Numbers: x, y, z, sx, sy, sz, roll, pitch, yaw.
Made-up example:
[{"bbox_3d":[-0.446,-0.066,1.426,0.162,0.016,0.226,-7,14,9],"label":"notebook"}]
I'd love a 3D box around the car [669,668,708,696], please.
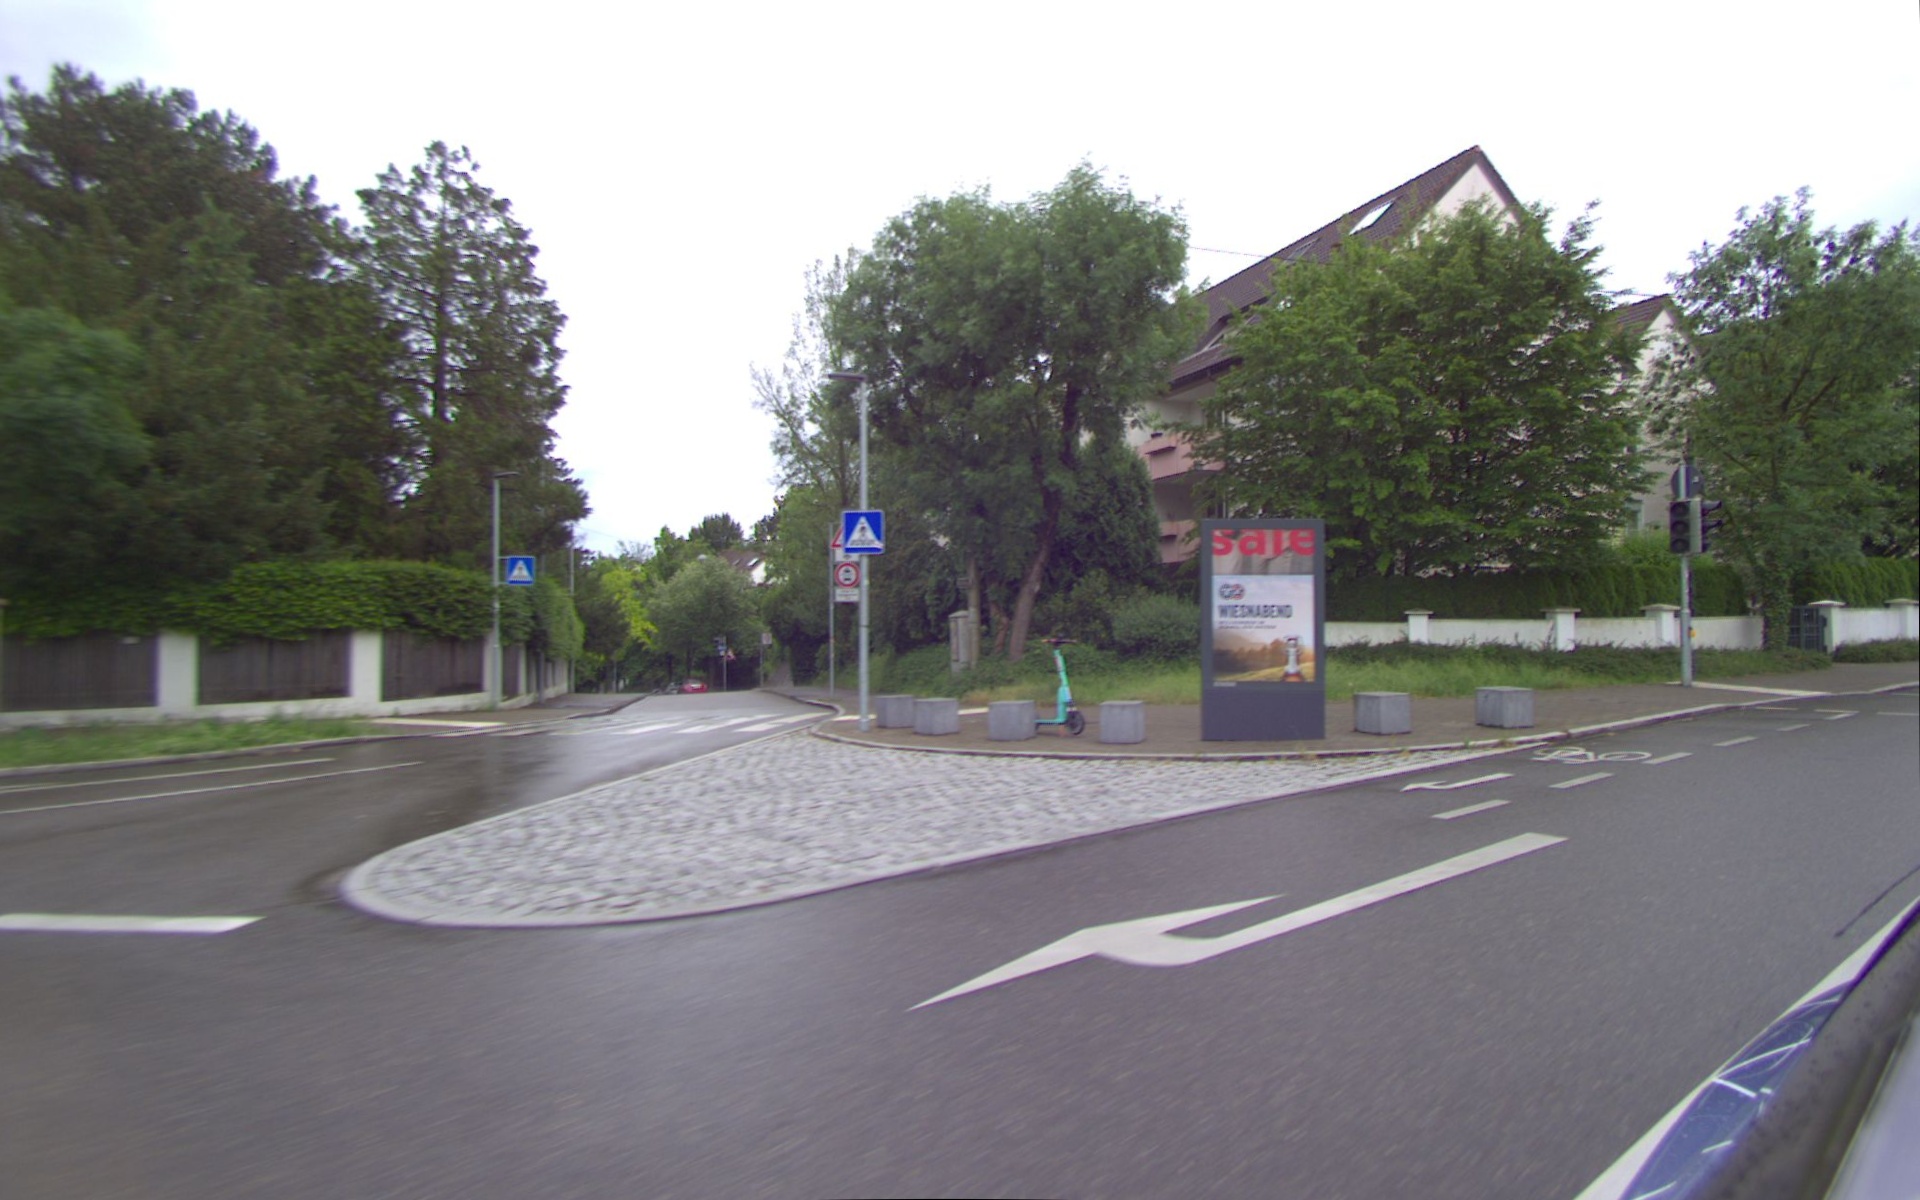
[{"bbox_3d":[-19.000,5.735,70.608,1.959,1.768,4.004,-1,-5,-25],"label":"car"}]

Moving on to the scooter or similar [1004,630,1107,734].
[{"bbox_3d":[1.187,1.023,12.853,0.515,1.222,1.352,-1,-3,-34],"label":"scooter or similar"}]

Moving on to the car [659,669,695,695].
[{"bbox_3d":[-20.949,6.036,74.861,1.959,1.773,4.004,-1,-4,-25],"label":"car"}]
